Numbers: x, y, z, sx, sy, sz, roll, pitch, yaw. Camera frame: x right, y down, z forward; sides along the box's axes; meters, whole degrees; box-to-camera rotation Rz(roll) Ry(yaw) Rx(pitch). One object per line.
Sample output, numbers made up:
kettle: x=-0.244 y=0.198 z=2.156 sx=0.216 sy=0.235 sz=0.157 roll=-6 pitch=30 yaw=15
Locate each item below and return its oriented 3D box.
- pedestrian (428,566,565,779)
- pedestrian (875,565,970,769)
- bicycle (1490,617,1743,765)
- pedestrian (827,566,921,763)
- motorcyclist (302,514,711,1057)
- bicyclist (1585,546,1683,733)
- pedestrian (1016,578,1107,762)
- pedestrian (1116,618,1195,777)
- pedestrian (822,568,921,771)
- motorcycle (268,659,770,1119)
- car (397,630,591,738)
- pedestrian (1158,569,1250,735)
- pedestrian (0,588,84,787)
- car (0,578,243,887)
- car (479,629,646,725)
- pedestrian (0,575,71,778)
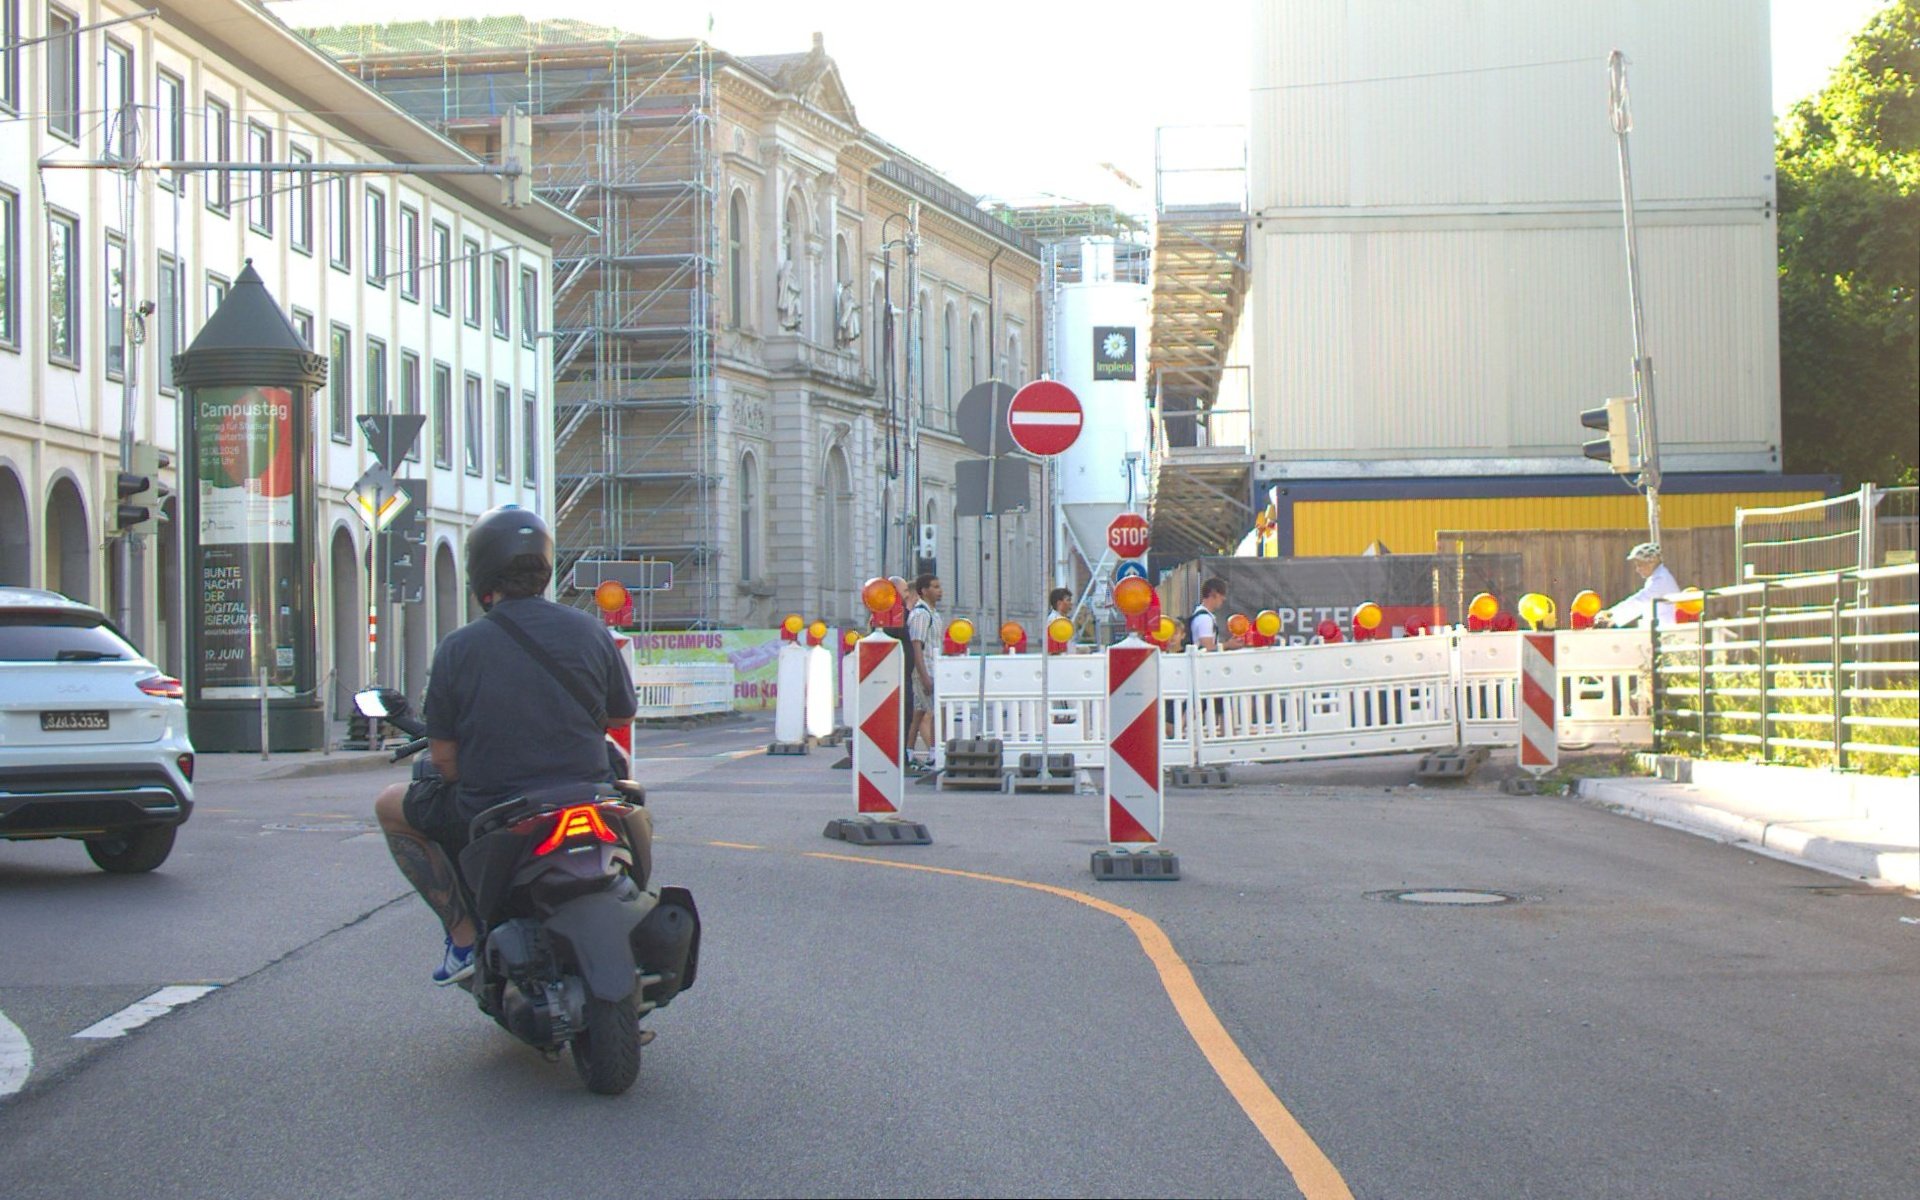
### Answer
pedestrian: x=-3.865 y=0.602 z=28.726 sx=0.974 sy=1.723 sz=0.798 roll=-2 pitch=-1 yaw=1
pedestrian: x=-0.329 y=0.587 z=30.441 sx=0.737 sy=1.765 sz=0.621 roll=-2 pitch=0 yaw=4
bicycle: x=5.396 y=0.747 z=28.314 sx=1.992 sy=1.197 sz=0.477 roll=0 pitch=-1 yaw=3
pedestrian: x=-0.787 y=0.588 z=31.529 sx=0.737 sy=1.765 sz=0.723 roll=-2 pitch=0 yaw=4
motorcyclist: x=-1.423 y=0.527 z=10.611 sx=0.954 sy=1.554 sz=1.239 roll=-1 pitch=0 yaw=-22
bicyclist: x=5.537 y=0.327 z=28.266 sx=0.702 sy=1.511 sz=0.686 roll=0 pitch=-1 yaw=5
pedestrian: x=0.922 y=0.625 z=31.120 sx=0.768 sy=1.613 sz=0.666 roll=-1 pitch=2 yaw=4
pedestrian: x=1.634 y=0.809 z=28.796 sx=0.618 sy=1.295 sz=0.493 roll=2 pitch=0 yaw=3
pedestrian: x=-0.760 y=0.598 z=29.709 sx=0.737 sy=1.710 sz=0.621 roll=-2 pitch=0 yaw=4
motorcycle: x=-1.441 y=0.806 z=10.662 sx=0.905 sy=1.179 sz=2.579 roll=-1 pitch=0 yaw=-22
car: x=-6.629 y=1.230 z=49.313 sx=1.925 sy=1.461 sz=3.999 roll=1 pitch=-2 yaw=5
pedestrian: x=2.207 y=0.464 z=31.090 sx=0.768 sy=1.457 sz=0.666 roll=-2 pitch=0 yaw=4
pedestrian: x=-7.759 y=0.721 z=28.678 sx=0.724 sy=1.618 sz=0.620 roll=0 pitch=2 yaw=1
car: x=-5.681 y=0.630 z=18.015 sx=3.997 sy=1.467 sz=1.860 roll=0 pitch=-1 yaw=45
car: x=-6.395 y=1.278 z=55.767 sx=1.925 sy=1.461 sz=3.999 roll=1 pitch=-2 yaw=5
pedestrian: x=-8.184 y=0.647 z=29.402 sx=0.965 sy=1.704 sz=0.675 roll=0 pitch=2 yaw=1
